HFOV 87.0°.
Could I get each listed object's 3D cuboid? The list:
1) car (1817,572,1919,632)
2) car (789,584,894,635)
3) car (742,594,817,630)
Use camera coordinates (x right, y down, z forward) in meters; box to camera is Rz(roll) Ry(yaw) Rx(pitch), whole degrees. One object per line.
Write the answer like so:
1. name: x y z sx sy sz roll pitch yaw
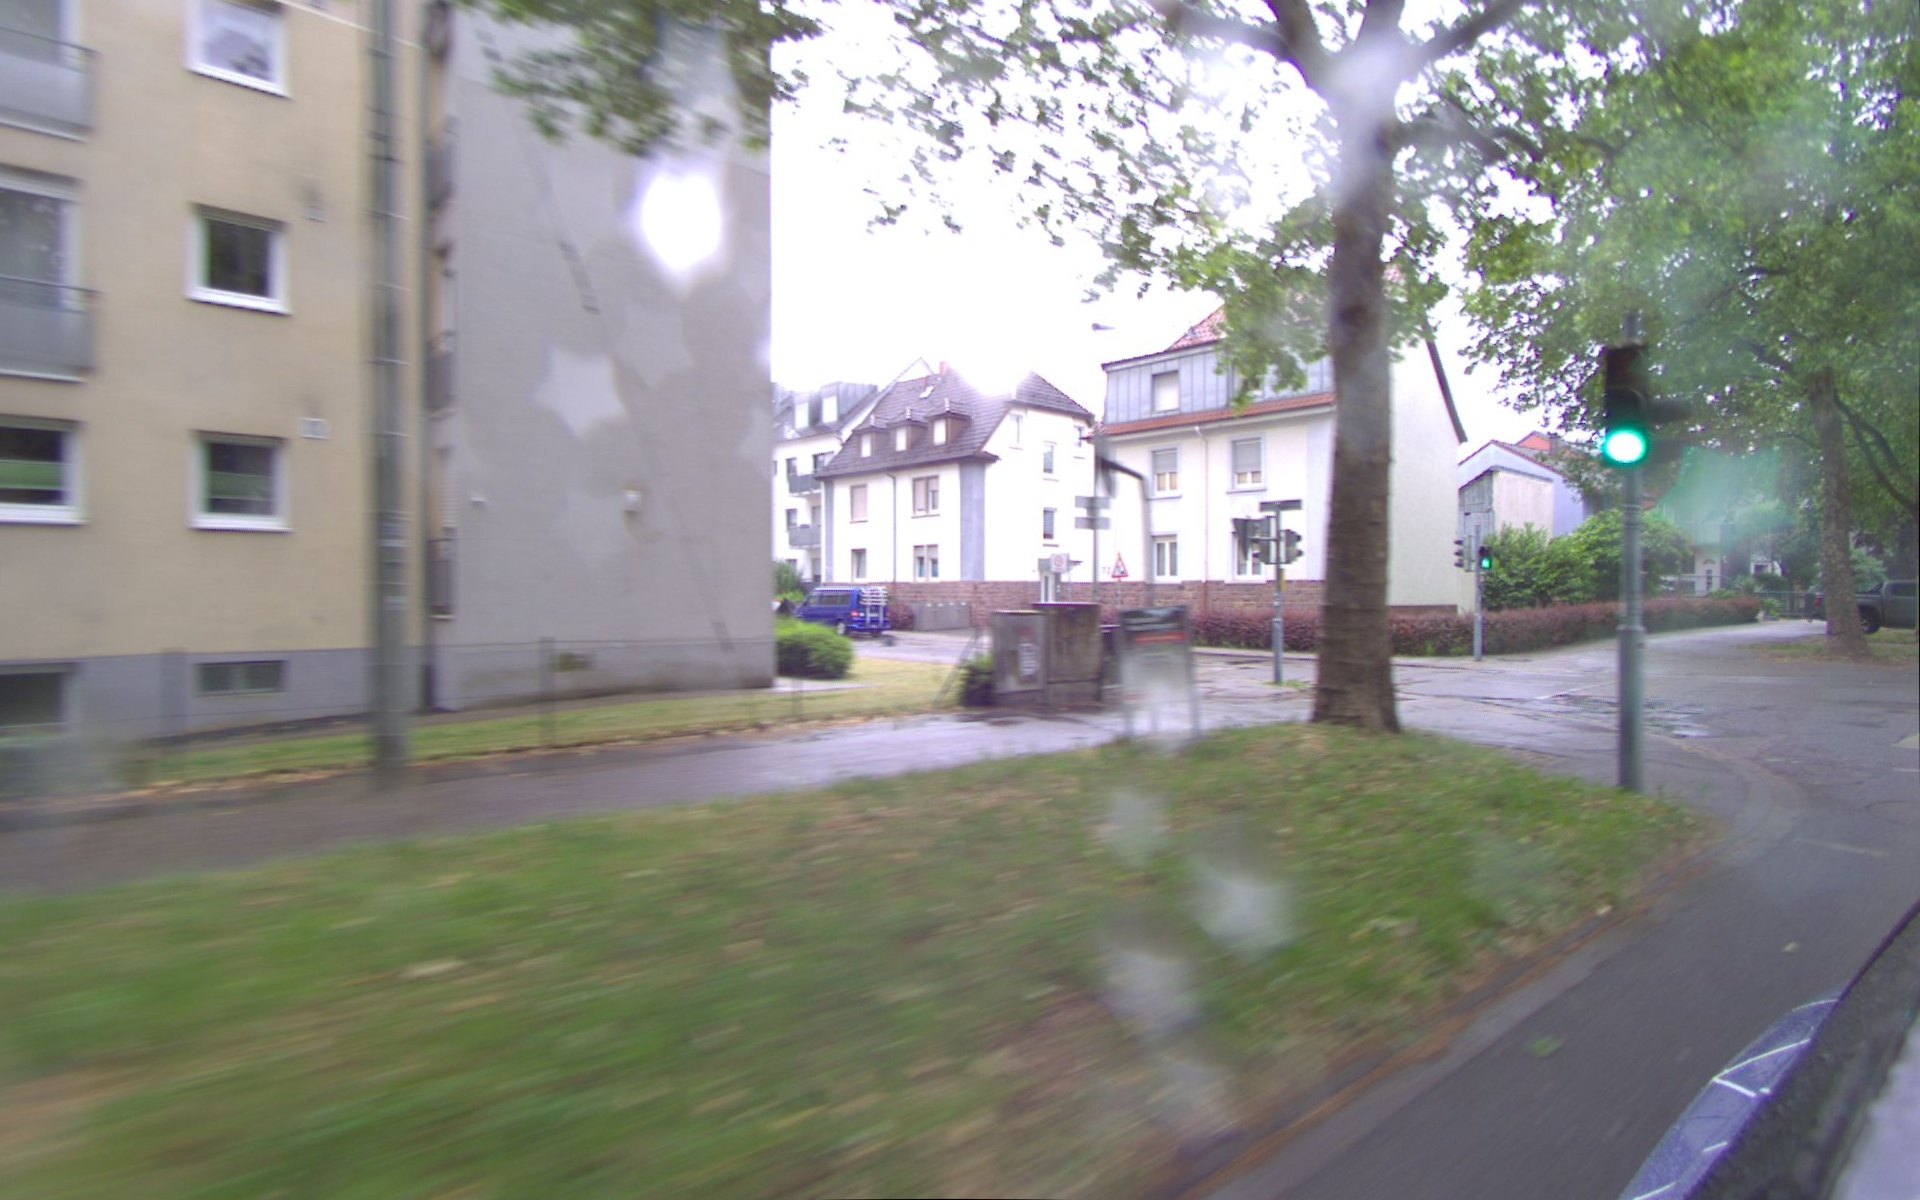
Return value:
1. car: 30.323 0.059 31.549 1.814 1.829 5.345 -1 2 -43
2. car: -4.774 0.321 40.323 1.894 1.900 4.675 0 1 -41
3. car: -7.995 0.489 44.656 1.690 1.519 3.512 0 1 -41
